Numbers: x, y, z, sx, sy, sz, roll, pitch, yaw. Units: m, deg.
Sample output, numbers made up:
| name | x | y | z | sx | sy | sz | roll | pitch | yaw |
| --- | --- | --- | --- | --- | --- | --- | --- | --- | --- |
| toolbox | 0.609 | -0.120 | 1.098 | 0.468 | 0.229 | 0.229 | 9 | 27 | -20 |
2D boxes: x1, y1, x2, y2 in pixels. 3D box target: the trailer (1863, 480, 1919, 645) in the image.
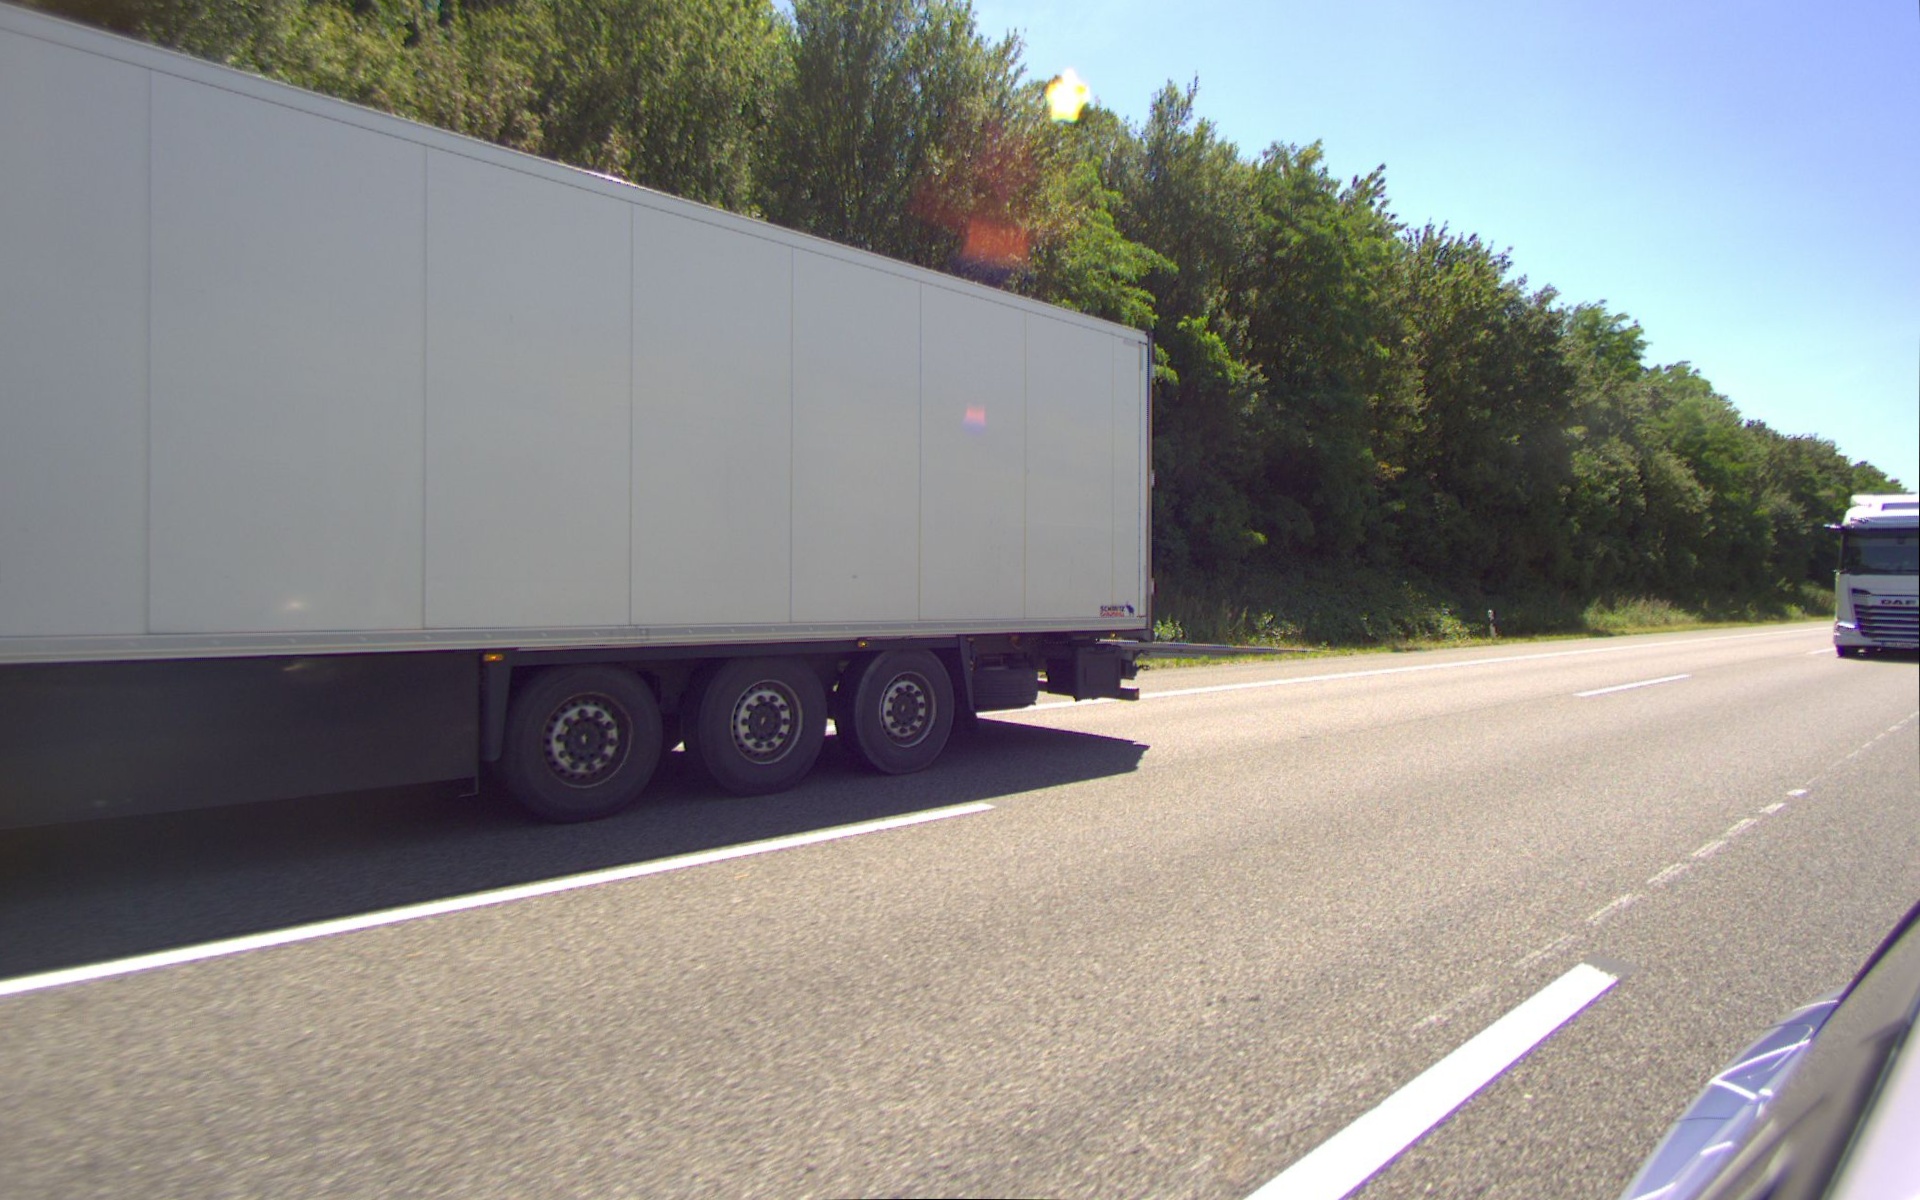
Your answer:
| name | x | y | z | sx | sy | sz | roll | pitch | yaw |
| --- | --- | --- | --- | --- | --- | --- | --- | --- | --- |
| trailer | 29.238 | -0.972 | 29.663 | 13.597 | 4.121 | 2.681 | 0 | 0 | -42 |

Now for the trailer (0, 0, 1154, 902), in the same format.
| name | x | y | z | sx | sy | sz | roll | pitch | yaw |
| --- | --- | --- | --- | --- | --- | --- | --- | --- | --- |
| trailer | -4.164 | -0.850 | 6.442 | 13.597 | 4.278 | 3.044 | 0 | 1 | -42 |

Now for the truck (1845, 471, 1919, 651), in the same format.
| name | x | y | z | sx | sy | sz | roll | pitch | yaw |
| --- | --- | --- | --- | --- | --- | --- | --- | --- | --- |
| truck | 24.227 | -0.903 | 25.140 | 5.944 | 4.121 | 2.681 | 0 | 0 | -42 |
